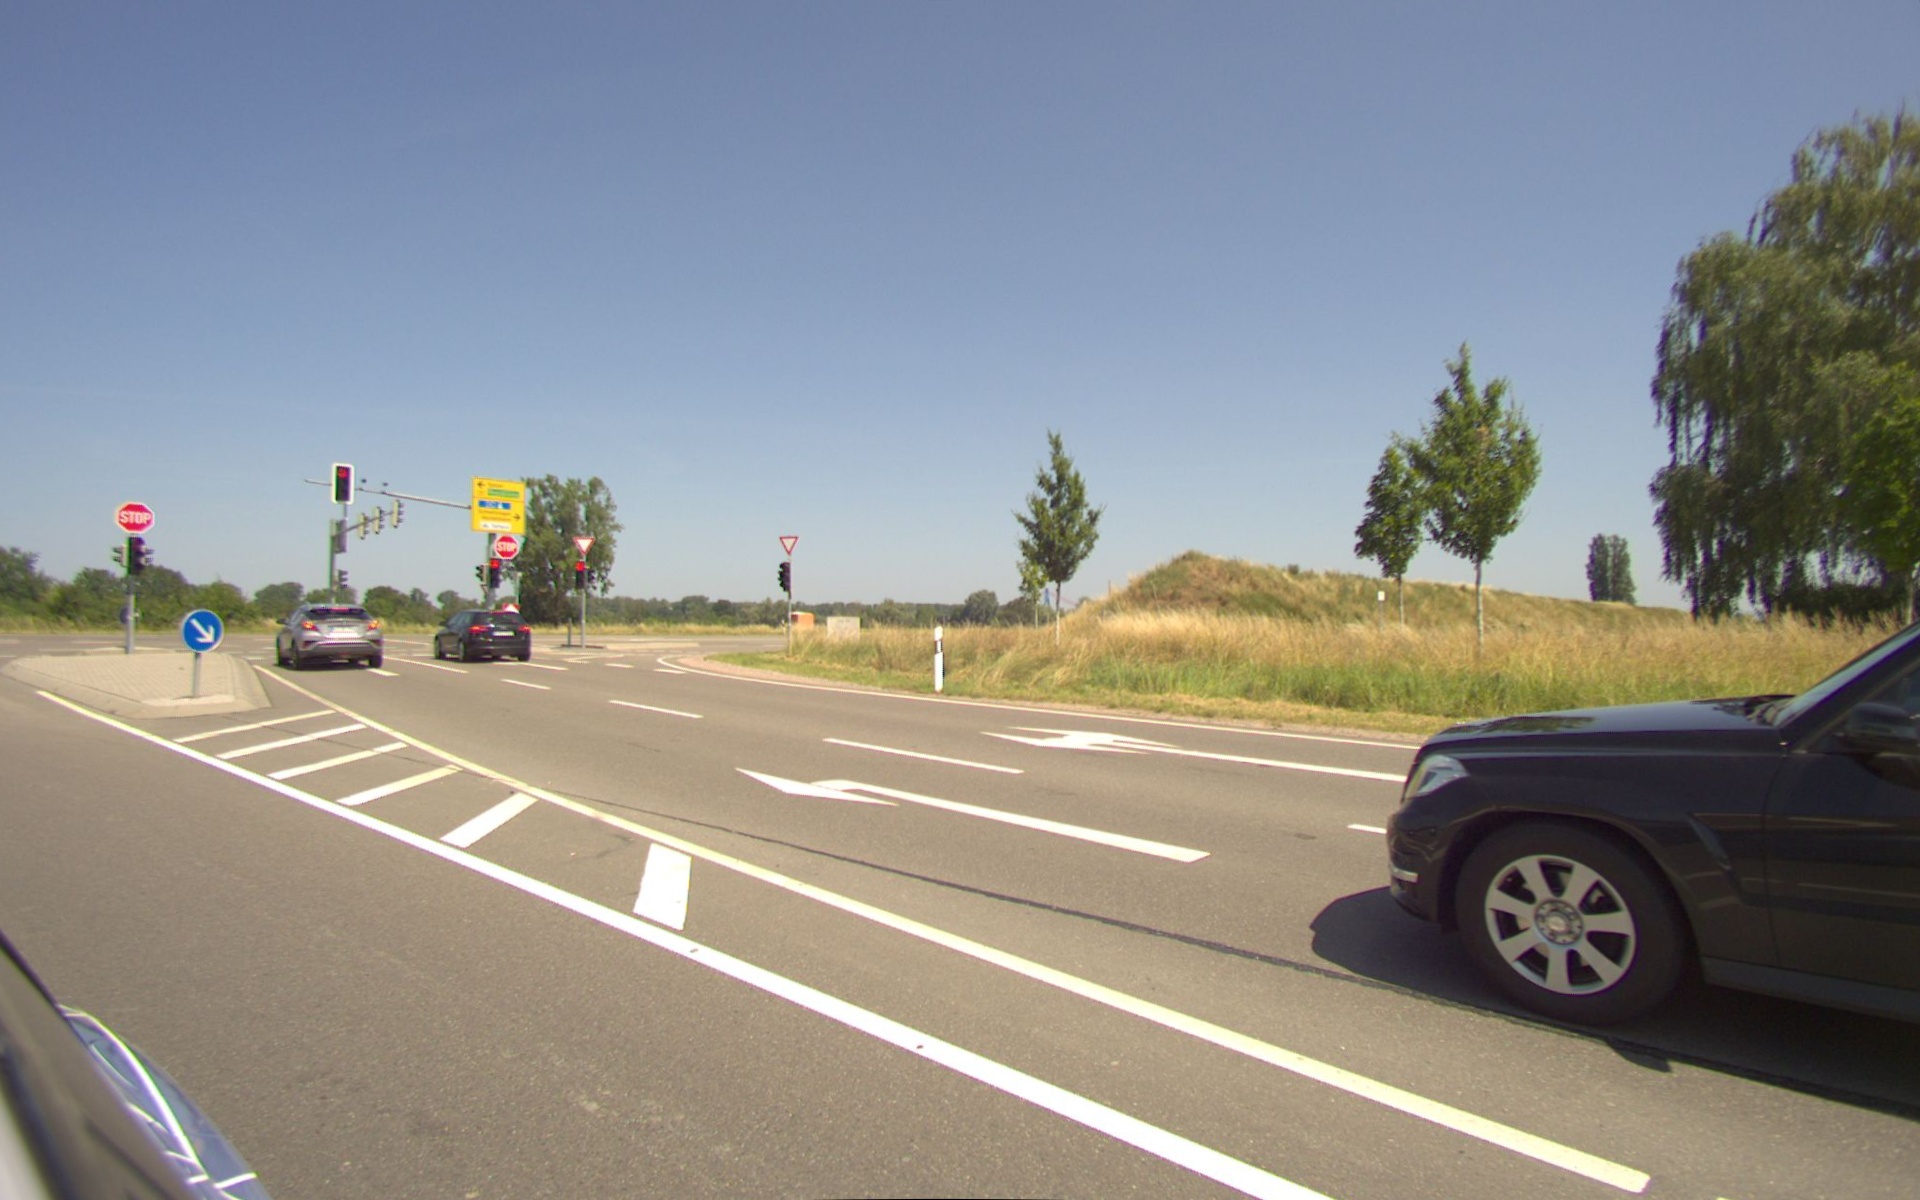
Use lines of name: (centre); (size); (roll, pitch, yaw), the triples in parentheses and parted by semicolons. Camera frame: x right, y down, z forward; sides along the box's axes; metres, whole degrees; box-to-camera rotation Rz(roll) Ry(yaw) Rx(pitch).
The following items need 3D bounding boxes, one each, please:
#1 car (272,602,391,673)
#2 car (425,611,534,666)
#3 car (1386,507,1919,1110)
car: (-15.335, 0.899, 24.584); (1.842, 1.555, 4.559); (1, -2, -40)
car: (-13.332, 1.042, 27.950); (1.748, 1.379, 4.281); (1, -2, -40)
car: (3.785, 0.572, 2.930); (1.843, 1.663, 4.331); (1, -1, -43)
